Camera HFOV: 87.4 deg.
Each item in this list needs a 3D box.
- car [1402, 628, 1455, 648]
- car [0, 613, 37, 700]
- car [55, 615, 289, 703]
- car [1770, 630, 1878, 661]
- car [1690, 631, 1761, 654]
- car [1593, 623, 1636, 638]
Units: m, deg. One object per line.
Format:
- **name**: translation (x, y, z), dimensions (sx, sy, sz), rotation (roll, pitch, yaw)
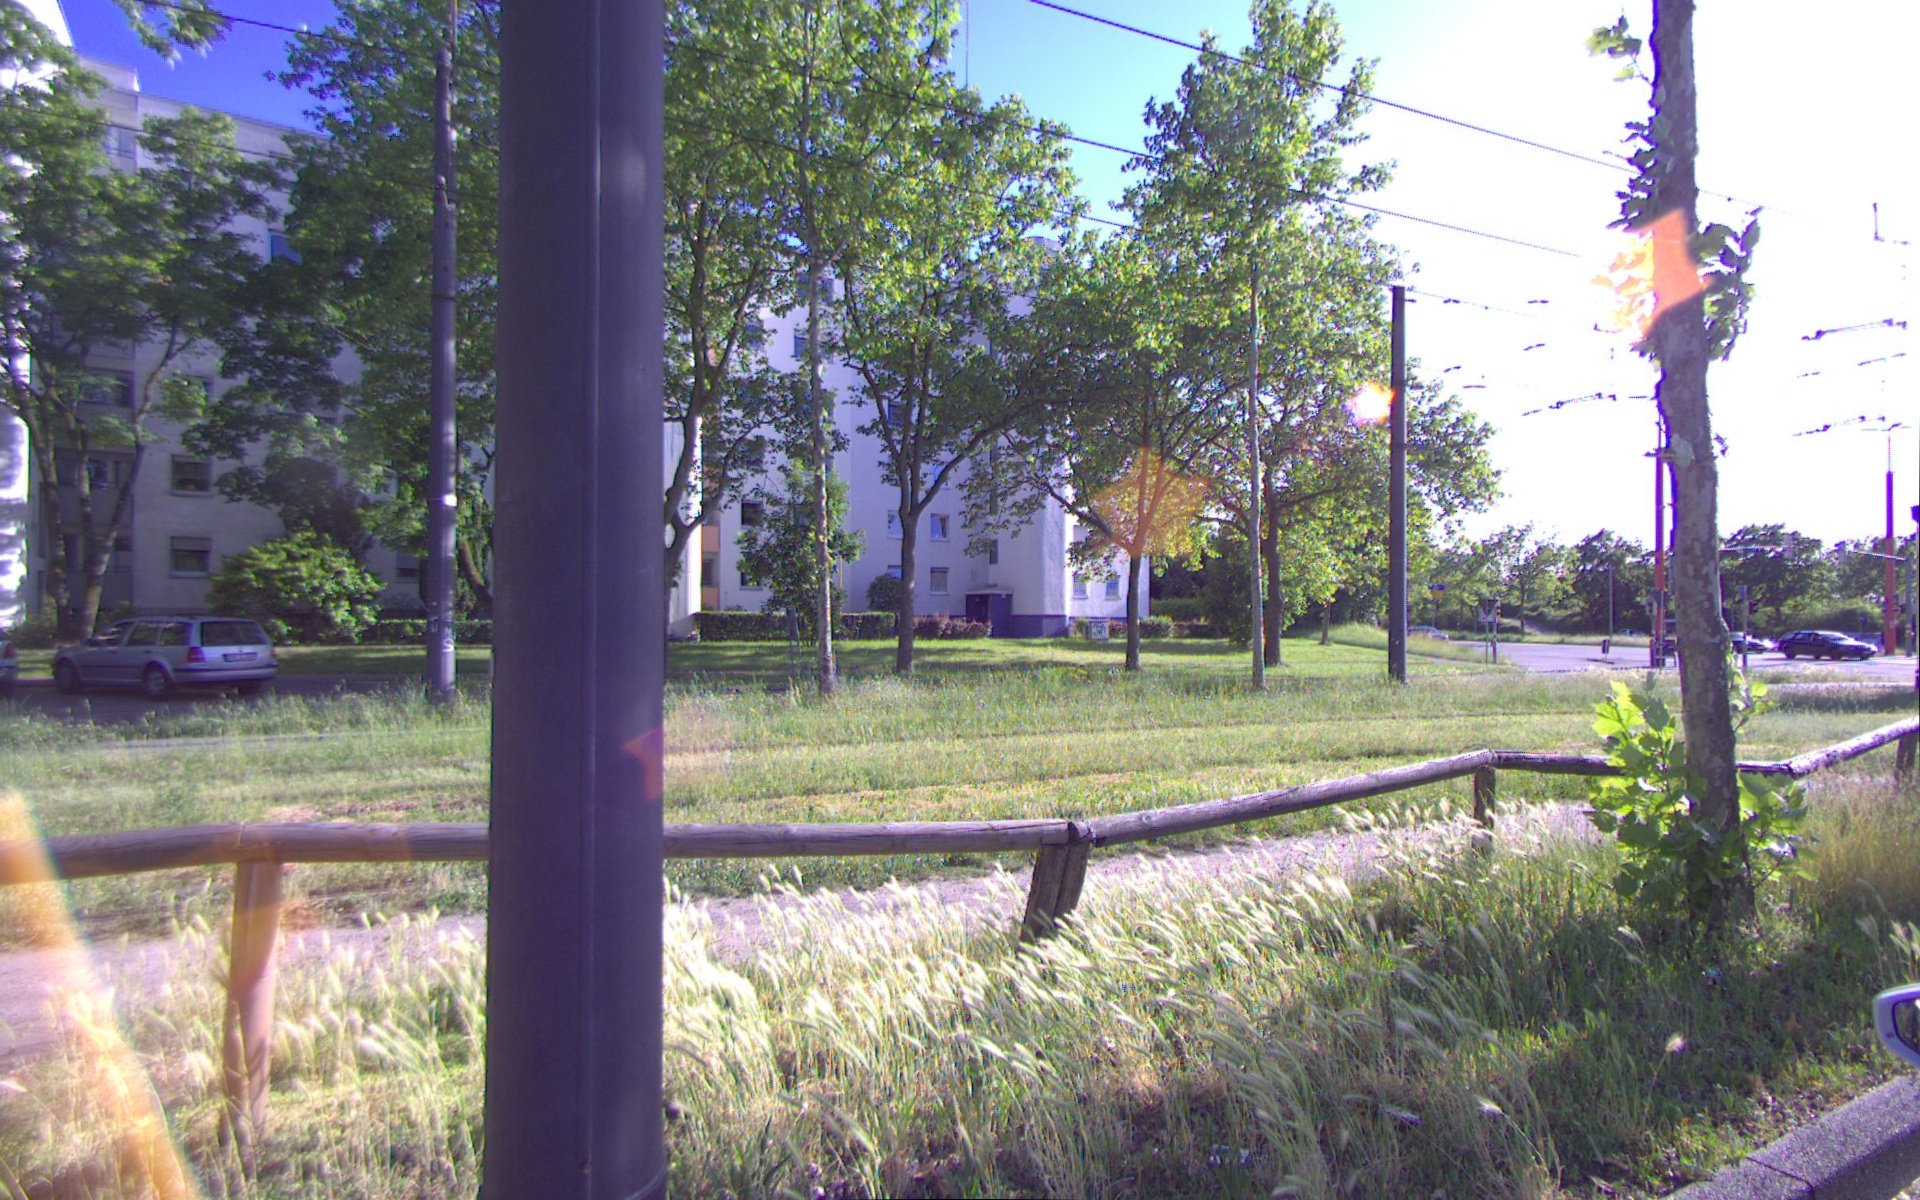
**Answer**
- **car**: translation (38.726, 3.135, 83.200), dimensions (1.962, 1.564, 4.645), rotation (1, -1, -5)
- **car**: translation (-17.916, 0.927, 17.141), dimensions (3.609, 1.452, 1.703), rotation (0, -1, 20)
- **car**: translation (-14.472, 1.026, 18.485), dimensions (3.609, 1.452, 1.732), rotation (0, -1, 20)
- **car**: translation (45.465, 2.360, 52.977), dimensions (1.878, 1.483, 4.238), rotation (1, -1, -5)
- **car**: translation (47.800, 2.618, 62.797), dimensions (1.707, 1.327, 3.817), rotation (1, -1, 3)
- **car**: translation (62.709, 2.935, 96.328), dimensions (1.630, 1.327, 3.815), rotation (1, -1, -1)
